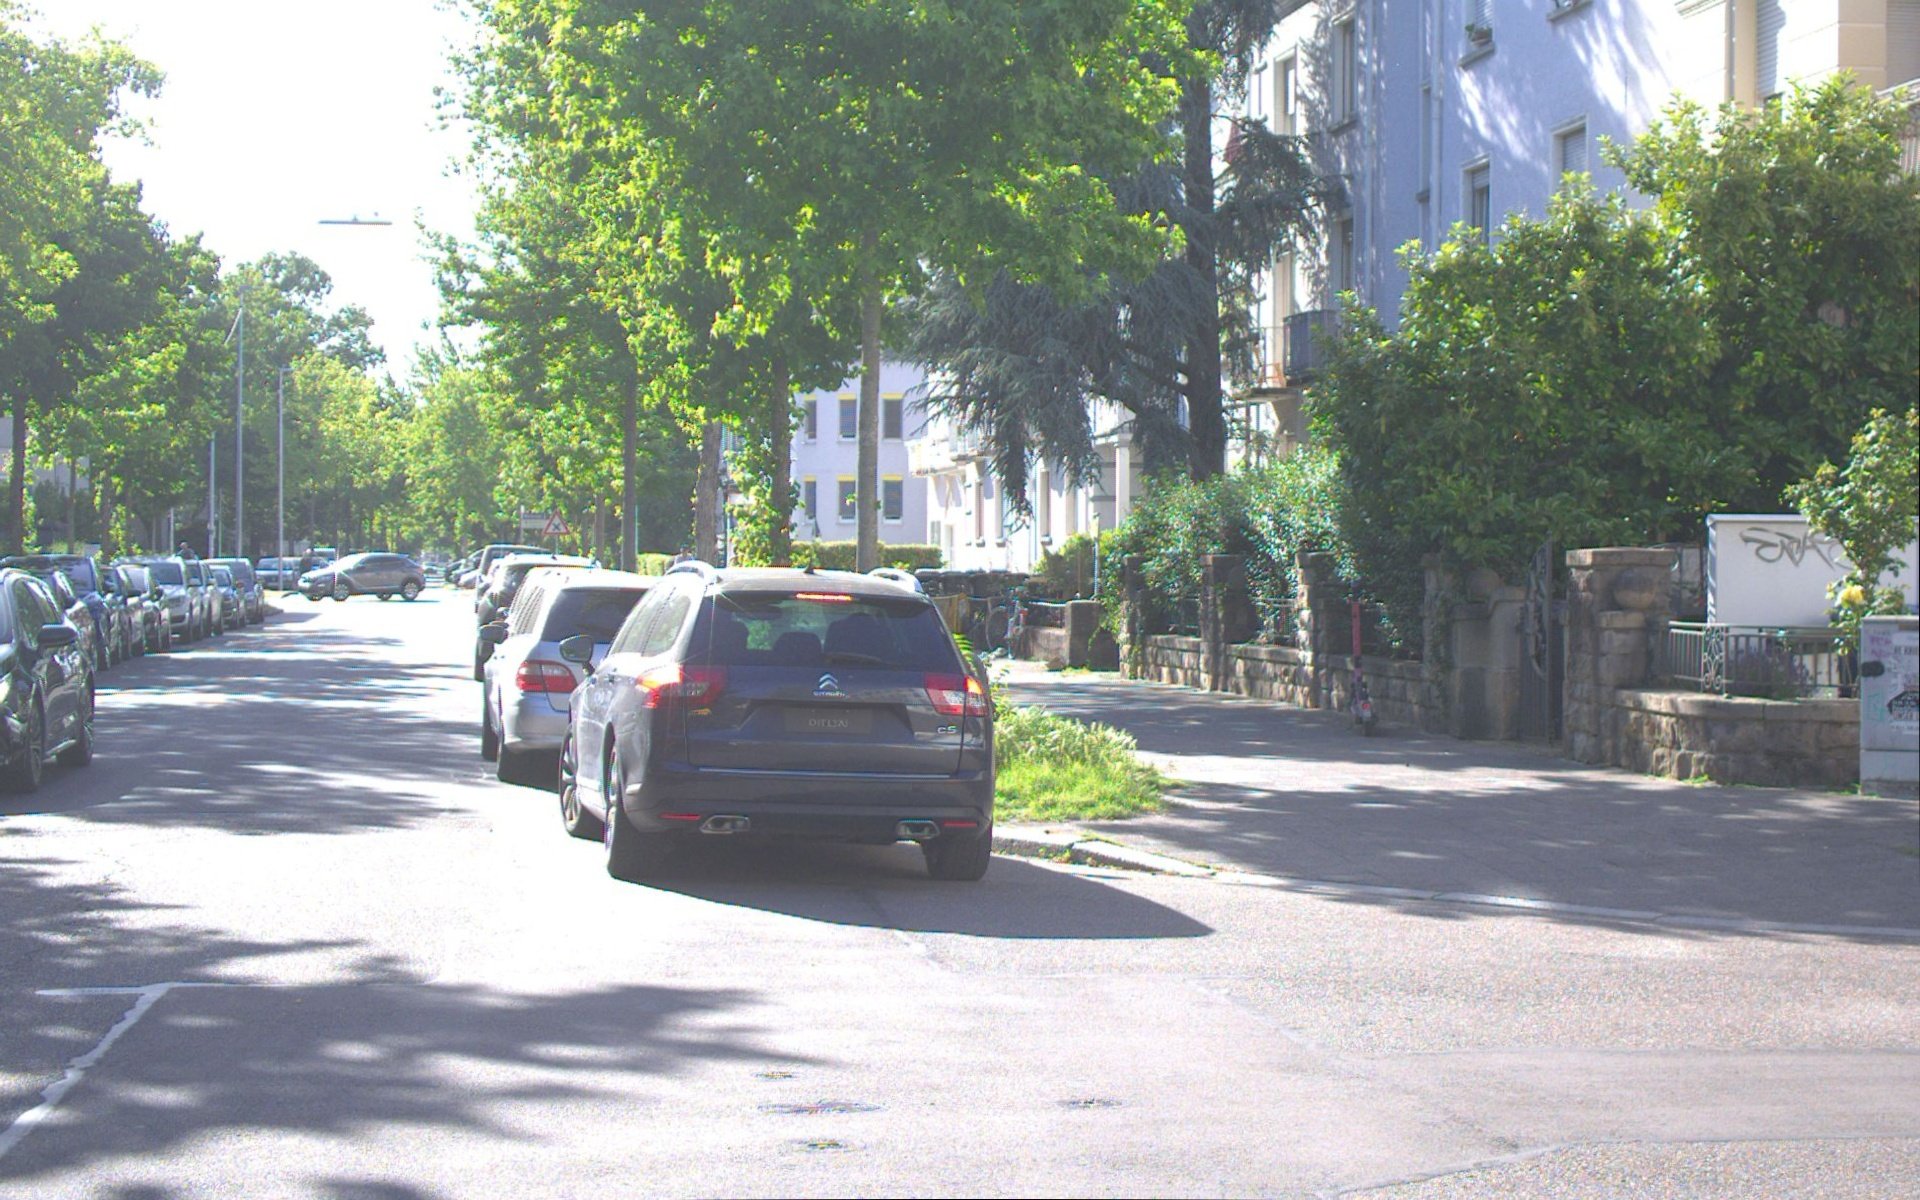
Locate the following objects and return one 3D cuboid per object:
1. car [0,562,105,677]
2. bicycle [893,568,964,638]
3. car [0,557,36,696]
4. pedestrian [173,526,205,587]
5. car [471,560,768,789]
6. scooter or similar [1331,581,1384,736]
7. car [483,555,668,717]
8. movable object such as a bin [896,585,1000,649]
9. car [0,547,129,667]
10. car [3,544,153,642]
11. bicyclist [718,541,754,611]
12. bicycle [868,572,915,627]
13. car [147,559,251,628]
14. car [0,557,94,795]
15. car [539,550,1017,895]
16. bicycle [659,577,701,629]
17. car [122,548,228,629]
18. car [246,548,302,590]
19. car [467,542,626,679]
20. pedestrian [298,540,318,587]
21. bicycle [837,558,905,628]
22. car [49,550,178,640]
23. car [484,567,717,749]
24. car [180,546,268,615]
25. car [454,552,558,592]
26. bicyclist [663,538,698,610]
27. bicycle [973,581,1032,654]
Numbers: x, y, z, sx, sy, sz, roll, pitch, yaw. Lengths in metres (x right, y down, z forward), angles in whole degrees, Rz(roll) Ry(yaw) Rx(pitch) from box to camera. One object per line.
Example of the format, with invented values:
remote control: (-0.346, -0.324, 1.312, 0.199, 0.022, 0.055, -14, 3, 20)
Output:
car: (-12.074, 0.229, 43.856, 1.779, 1.374, 4.263, -2, 1, -8)
bicycle: (-0.534, 0.046, 56.608, 0.803, 1.111, 2.001, 1, 0, -11)
car: (-11.158, 0.322, 36.960, 1.728, 1.472, 4.620, -3, 1, -8)
pedestrian: (-25.858, -1.463, 115.287, 0.859, 2.007, 0.981, 0, 1, 0)
car: (-2.625, 0.477, 25.475, 1.821, 1.464, 4.911, 2, 1, -9)
scooter or similar: (3.170, 0.454, 27.393, 0.401, 1.181, 1.205, 0, 1, 7)
car: (-4.088, 0.338, 36.093, 1.653, 1.527, 3.970, 3, 0, -9)
movable object such as a bin: (-0.166, 0.241, 51.188, 1.222, 0.901, 1.663, 0, 1, 12)
car: (-12.877, 0.068, 48.945, 1.789, 1.561, 4.467, -3, 1, -11)
car: (-13.759, -0.135, 53.821, 1.829, 1.448, 4.123, -1, 1, -8)
bicyclist: (-5.035, -0.547, 77.104, 0.676, 1.548, 1.022, 0, 1, -11)
bicycle: (-1.224, -0.014, 61.105, 0.595, 0.954, 1.904, 0, 1, -8)
car: (-17.268, -0.164, 78.173, 1.993, 1.448, 4.263, -2, 1, -9)
car: (-6.923, 0.457, 22.939, 1.808, 1.441, 4.367, -1, 1, -9)
car: (-1.101, 0.548, 17.796, 1.895, 1.519, 4.968, 1, 0, -9)
bicycle: (-6.306, 0.054, 77.376, 0.683, 1.149, 2.404, 0, 1, -11)
car: (-15.853, -0.255, 69.569, 1.710, 1.539, 3.931, -2, 1, -8)
car: (-27.425, -1.251, 137.552, 1.993, 1.665, 4.001, 0, 1, -8)
car: (-5.468, 0.089, 45.575, 1.925, 1.646, 5.096, 2, 1, -7)
pedestrian: (-26.243, -1.473, 138.383, 0.715, 1.894, 0.837, 0, 1, -18)
bicycle: (-1.651, -0.145, 63.468, 0.838, 1.253, 2.232, 1, 0, -12)
car: (-14.379, -0.108, 58.528, 1.761, 1.439, 3.910, -2, 1, -9)
car: (-3.260, 0.455, 30.426, 1.710, 1.406, 4.863, 2, 1, -9)
car: (-17.999, -0.491, 84.199, 1.839, 1.589, 4.263, -2, 1, -9)
car: (-18.014, -1.120, 136.345, 3.986, 1.581, 1.727, 0, 1, -12)
bicyclist: (-6.284, -0.579, 77.315, 0.676, 1.604, 0.922, 0, 1, -11)
bicycle: (0.585, 0.232, 47.749, 0.581, 0.971, 1.904, 0, 1, -7)
